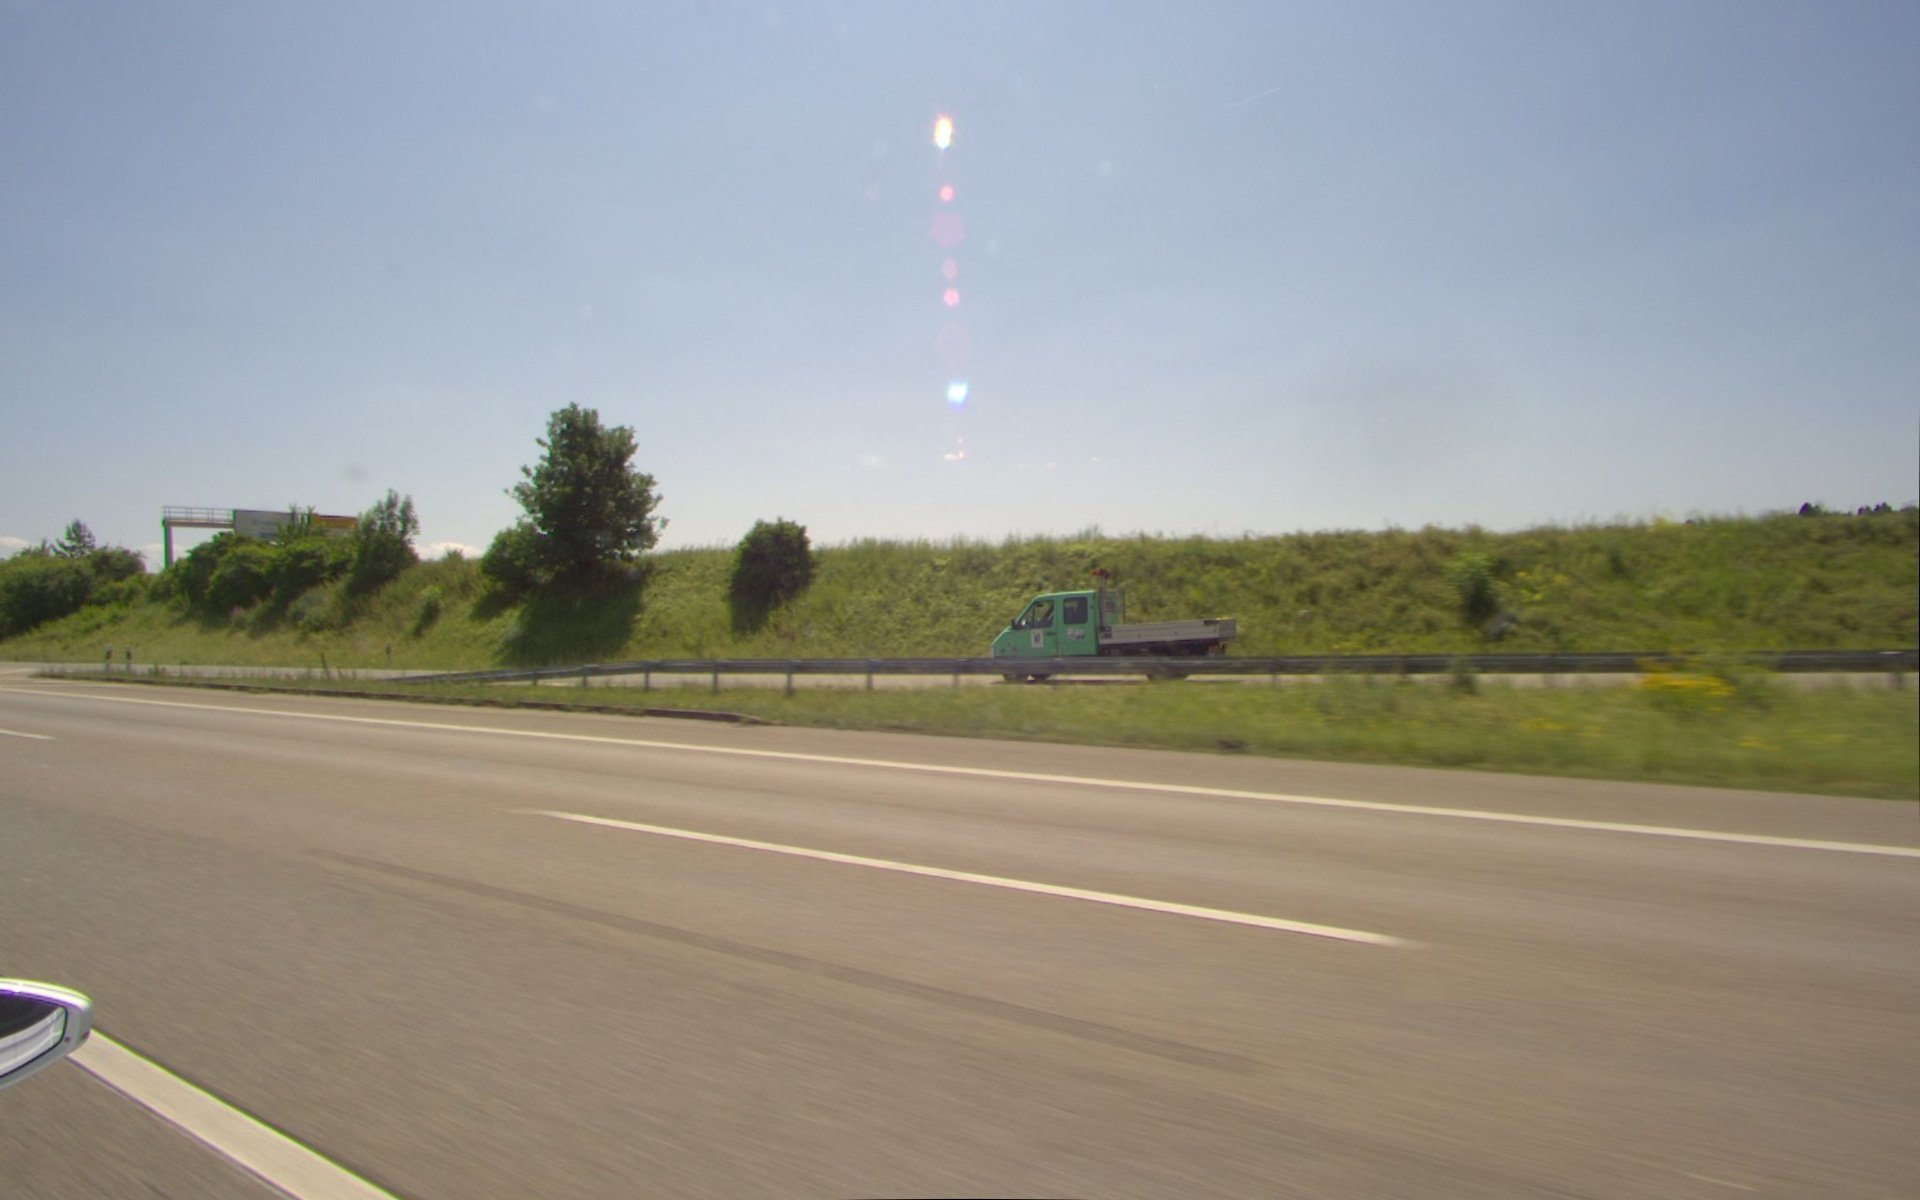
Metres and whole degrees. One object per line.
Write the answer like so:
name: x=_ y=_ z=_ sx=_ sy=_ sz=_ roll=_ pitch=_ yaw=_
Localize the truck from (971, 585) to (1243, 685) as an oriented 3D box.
truck: x=3.424 y=0.817 z=23.695 sx=6.022 sy=2.119 sz=2.163 roll=-1 pitch=-1 yaw=27
